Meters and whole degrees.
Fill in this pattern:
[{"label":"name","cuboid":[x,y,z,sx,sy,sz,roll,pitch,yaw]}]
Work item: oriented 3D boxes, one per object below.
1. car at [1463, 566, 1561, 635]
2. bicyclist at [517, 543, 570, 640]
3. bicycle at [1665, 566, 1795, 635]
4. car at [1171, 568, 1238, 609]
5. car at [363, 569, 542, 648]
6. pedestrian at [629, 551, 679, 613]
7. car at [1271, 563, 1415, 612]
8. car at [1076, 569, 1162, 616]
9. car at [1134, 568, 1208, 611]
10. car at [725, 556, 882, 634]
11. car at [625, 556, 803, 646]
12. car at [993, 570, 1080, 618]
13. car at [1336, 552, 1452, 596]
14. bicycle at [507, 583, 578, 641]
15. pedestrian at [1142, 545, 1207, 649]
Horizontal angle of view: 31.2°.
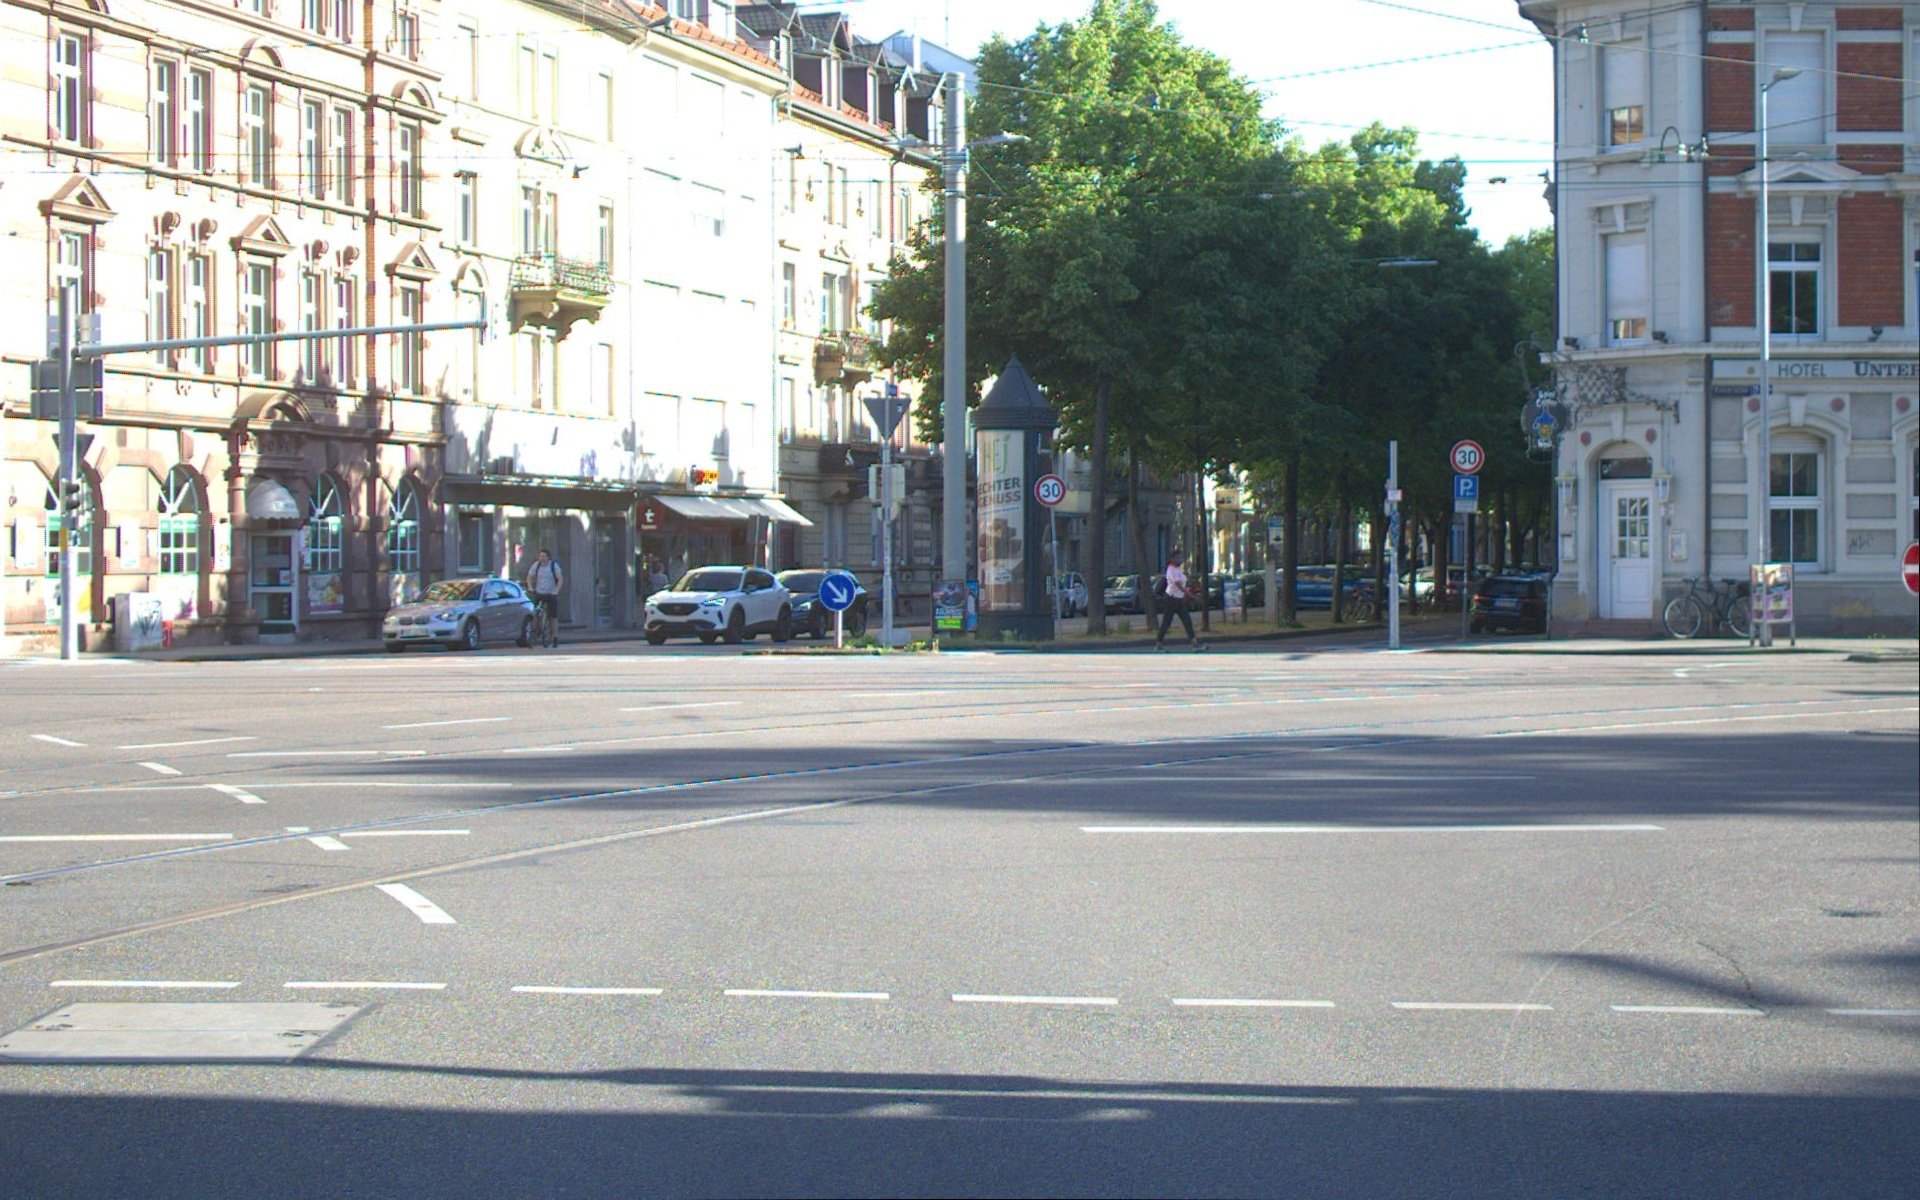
[{"label":"car","cuboid":[13.267,-0.009,82.447,1.995,1.579,3.998,0,1,14]},{"label":"bicyclist","cuboid":[-7.881,-0.161,65.054,0.679,1.814,1.070,0,1,12]},{"label":"bicycle","cuboid":[12.854,0.010,57.396,2.085,1.120,0.367,1,0,-4]},{"label":"car","cuboid":[9.700,-0.462,136.338,1.766,1.544,4.387,0,1,16]},{"label":"car","cuboid":[-9.854,0.150,67.057,1.900,1.450,3.997,0,1,17]},{"label":"pedestrian","cuboid":[-7.673,-0.452,86.316,0.929,1.530,1.136,0,1,14]},{"label":"car","cuboid":[12.862,-0.434,115.400,4.382,1.606,1.997,0,1,27]},{"label":"car","cuboid":[5.706,-0.295,122.671,1.995,1.607,4.387,0,1,17]},{"label":"car","cuboid":[8.033,-0.413,130.461,1.839,1.547,4.387,0,1,17]},{"label":"car","cuboid":[-3.320,-0.134,73.845,1.995,1.606,4.387,0,1,17]},{"label":"car","cuboid":[-4.766,-0.016,67.332,1.995,1.678,4.387,0,1,17]},{"label":"car","cuboid":[2.486,-0.219,110.970,1.995,1.481,3.998,0,1,14]},{"label":"car","cuboid":[16.862,-1.009,133.630,3.993,1.700,1.997,0,1,30]},{"label":"bicycle","cuboid":[-7.891,0.218,65.018,0.680,1.062,2.124,0,1,12]},{"label":"pedestrian","cuboid":[3.620,-0.063,57.979,1.046,1.738,0.808,0,1,6]}]
